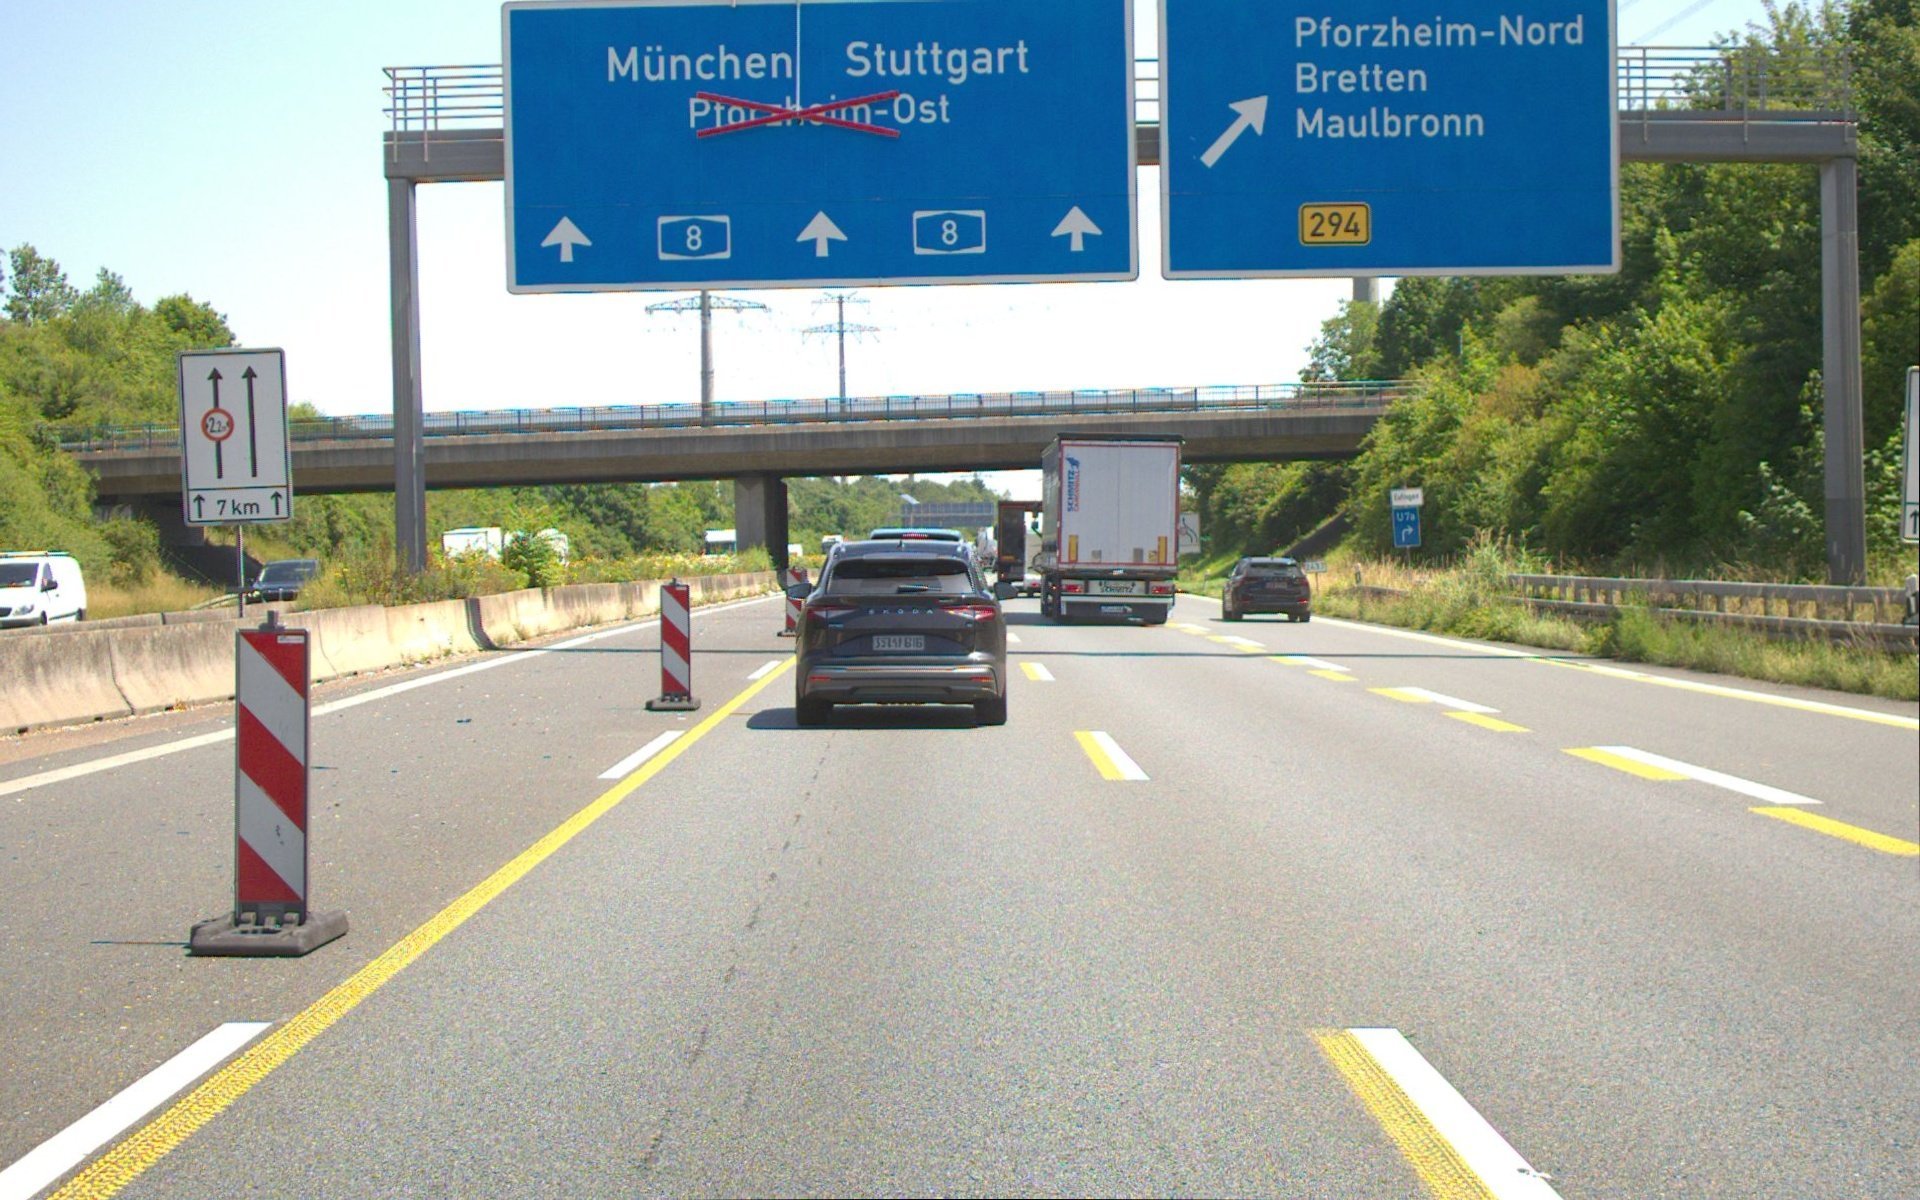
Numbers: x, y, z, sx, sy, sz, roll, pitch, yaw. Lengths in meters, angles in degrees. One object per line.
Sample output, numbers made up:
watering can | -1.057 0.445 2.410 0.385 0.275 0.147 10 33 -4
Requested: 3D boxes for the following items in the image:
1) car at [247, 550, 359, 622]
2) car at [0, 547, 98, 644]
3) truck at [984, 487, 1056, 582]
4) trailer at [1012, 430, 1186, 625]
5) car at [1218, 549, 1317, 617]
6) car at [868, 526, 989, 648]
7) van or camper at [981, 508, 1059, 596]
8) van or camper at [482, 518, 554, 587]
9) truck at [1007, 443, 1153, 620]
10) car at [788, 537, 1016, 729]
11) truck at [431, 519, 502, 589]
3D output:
car | -16.079 -0.372 84.341 1.872 1.688 4.498 -1 1 0
car | -20.231 -0.126 74.058 1.930 2.007 5.596 -1 1 -1
truck | 2.716 -2.969 157.868 3.078 4.132 13.054 1 1 1
trailer | 2.966 -1.594 77.019 3.065 4.029 11.489 0 1 -2
car | 7.029 -0.414 78.957 1.779 1.484 4.464 1 1 -1
car | -0.555 -0.259 57.458 1.895 1.835 4.443 2 2 -1
van or camper | 2.110 -1.701 121.430 2.586 2.958 6.085 2 1 1
van or camper | -20.786 -2.220 161.913 2.435 3.136 7.627 -1 1 -1
truck | 2.845 -1.653 83.606 3.024 4.073 7.796 0 1 -2
car | -0.536 0.234 30.923 1.895 1.586 4.443 0 1 -1
truck | -23.615 -2.206 164.686 2.495 3.248 6.365 -1 1 -1
